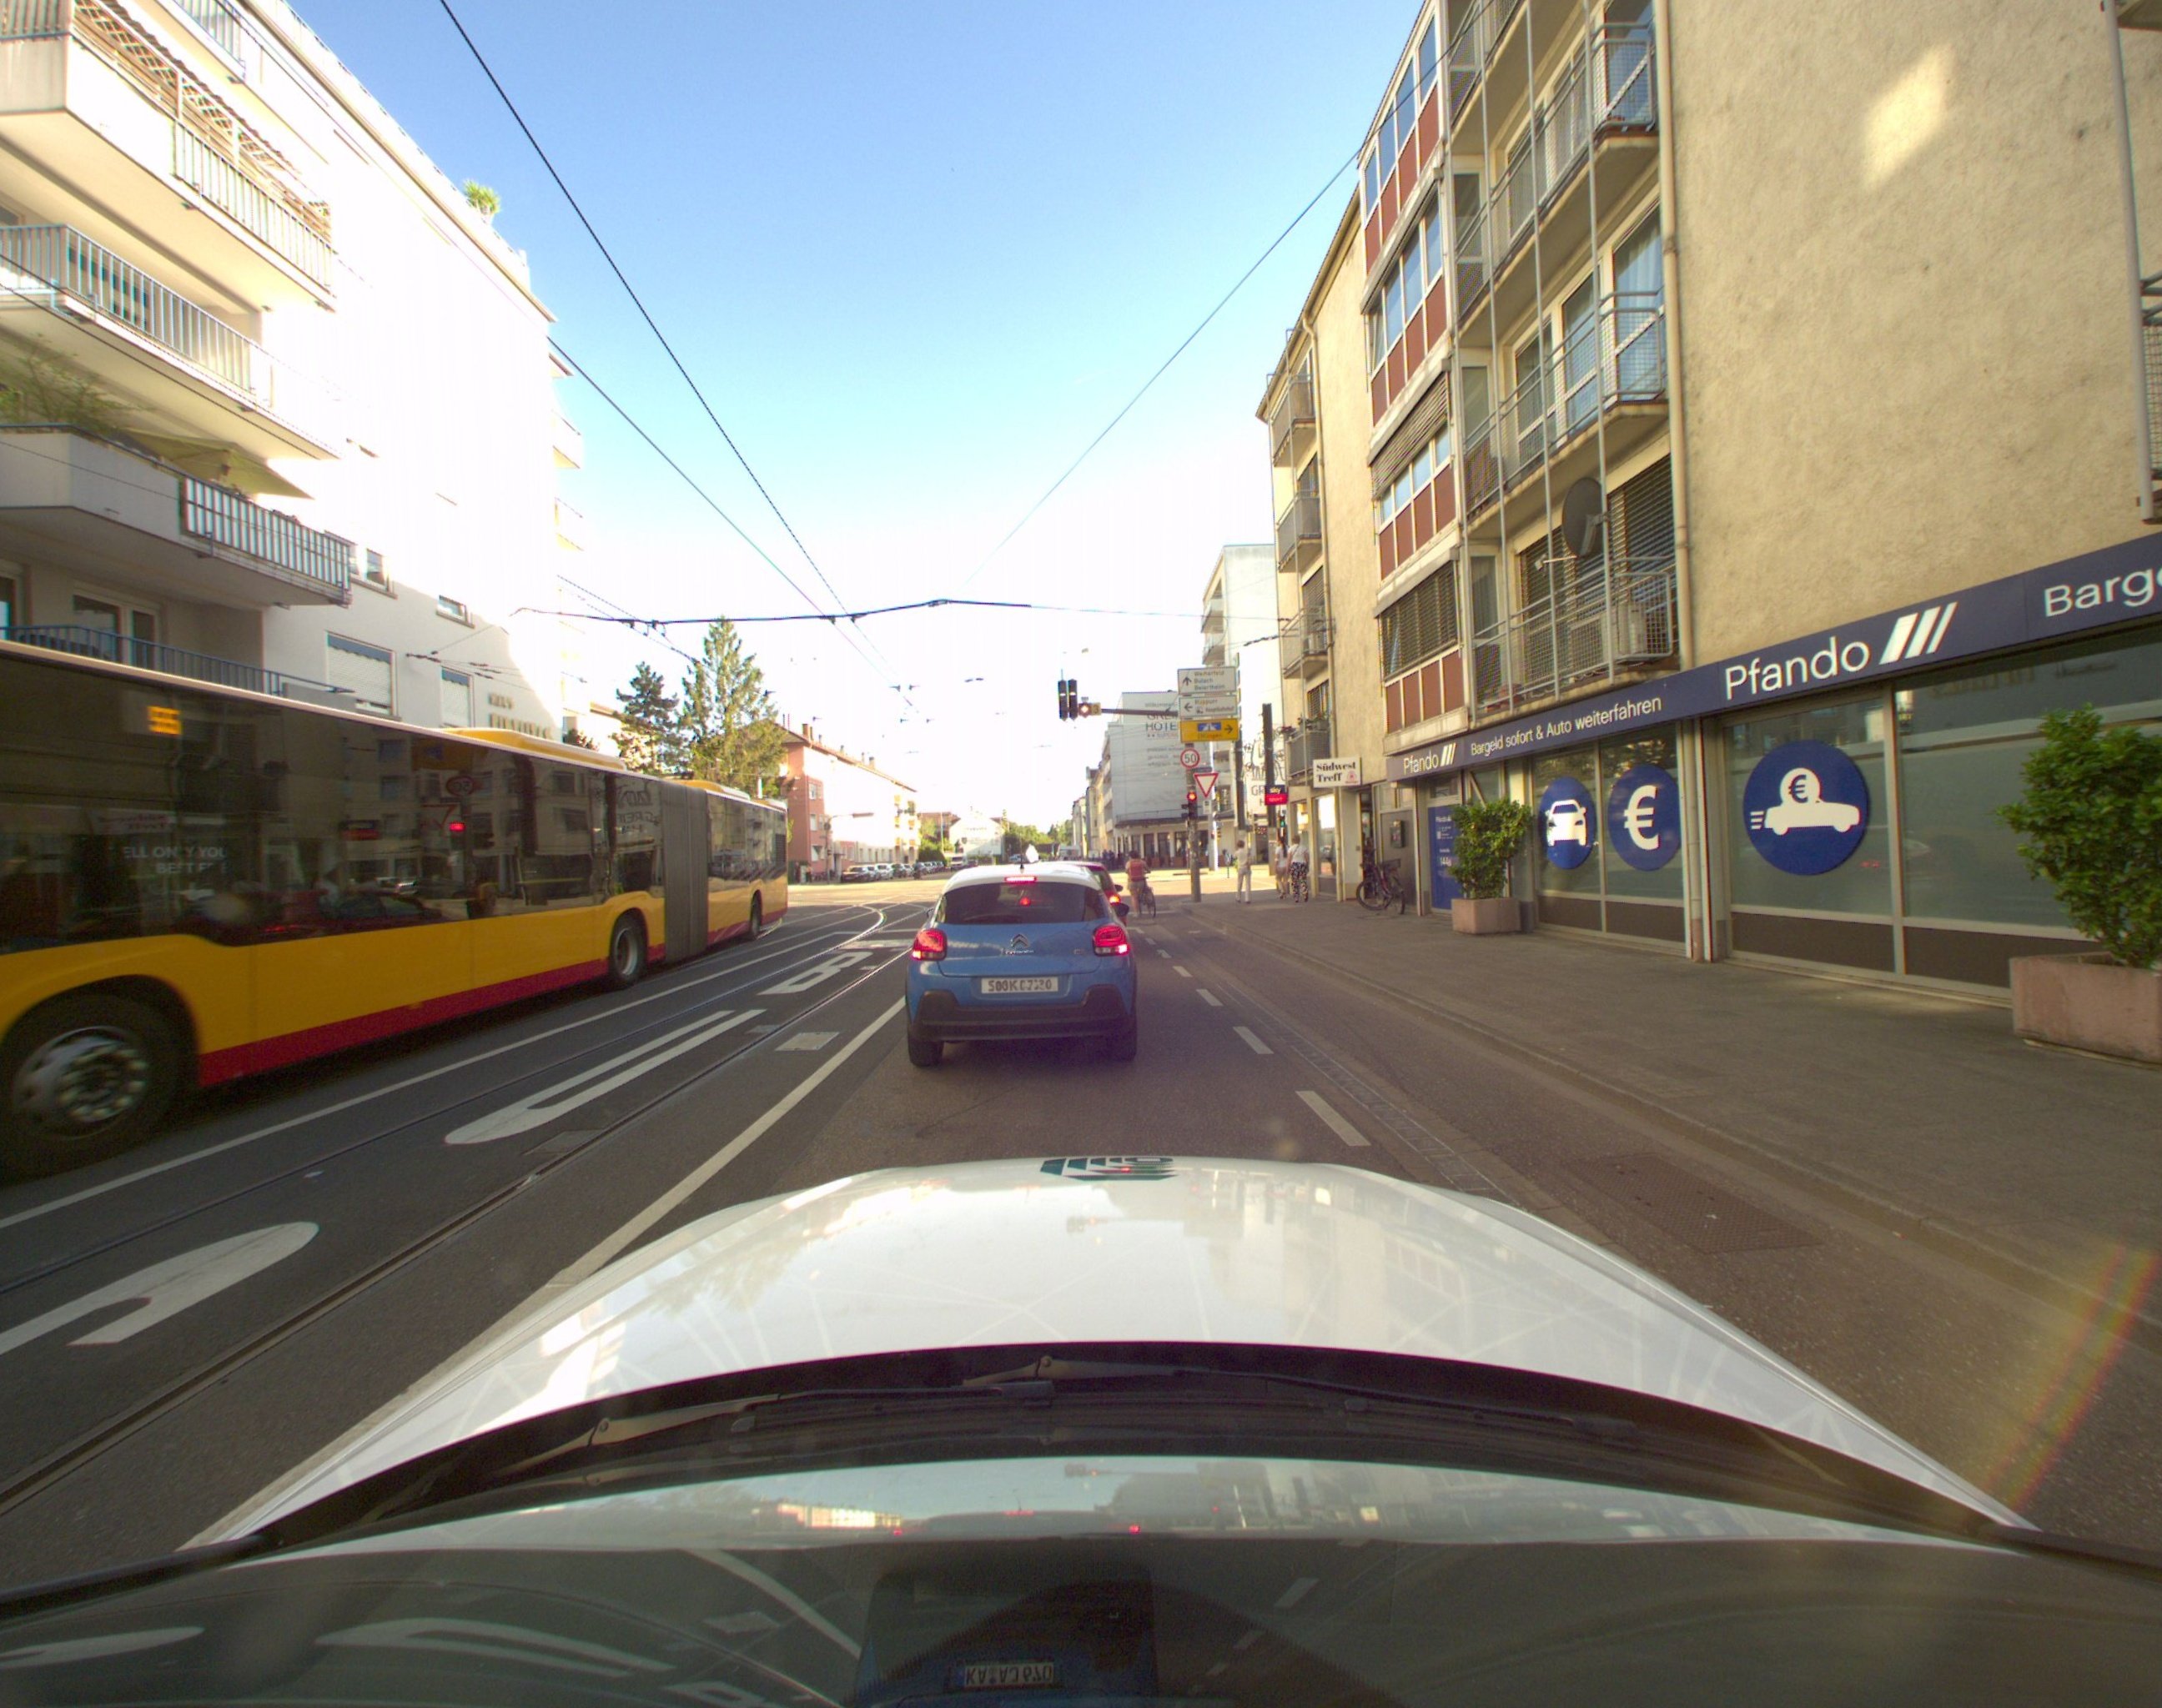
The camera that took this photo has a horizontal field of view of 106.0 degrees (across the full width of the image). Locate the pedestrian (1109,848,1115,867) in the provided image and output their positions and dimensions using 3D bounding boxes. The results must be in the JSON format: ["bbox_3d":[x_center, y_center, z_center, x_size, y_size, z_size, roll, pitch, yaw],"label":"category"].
[{"bbox_3d":[2.655,0.295,70.076,0.490,1.556,0.383,-3,0,-2],"label":"pedestrian"}]

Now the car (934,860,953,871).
[{"bbox_3d":[-20.578,1.710,122.279,2.024,1.619,4.509,-3,0,-1],"label":"car"}]

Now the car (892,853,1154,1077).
[{"bbox_3d":[-0.522,0.741,7.504,1.740,1.462,3.994,-1,0,-4],"label":"car"}]

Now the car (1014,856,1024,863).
[{"bbox_3d":[-14.310,1.253,187.934,2.016,1.525,3.997,-3,0,-2],"label":"car"}]

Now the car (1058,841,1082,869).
[{"bbox_3d":[-1.008,0.084,72.637,1.988,2.325,3.998,-1,0,-1],"label":"car"}]

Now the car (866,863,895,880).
[{"bbox_3d":[-19.590,1.709,79.811,1.906,1.497,3.997,-3,0,-2],"label":"car"}]

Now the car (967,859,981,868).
[{"bbox_3d":[-19.072,1.744,145.290,2.016,1.525,3.997,-2,0,-2],"label":"car"}]

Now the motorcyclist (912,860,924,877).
[{"bbox_3d":[-13.494,1.204,67.606,0.716,1.378,0.912,-2,0,2],"label":"motorcyclist"}]

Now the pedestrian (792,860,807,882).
[{"bbox_3d":[-21.869,1.311,63.282,0.840,1.690,0.738,-2,0,4],"label":"pedestrian"}]

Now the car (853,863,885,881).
[{"bbox_3d":[-19.527,1.659,75.183,1.906,1.497,3.997,-3,0,-2],"label":"car"}]

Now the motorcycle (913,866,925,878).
[{"bbox_3d":[-13.488,1.491,67.760,0.613,0.864,1.671,-3,0,2],"label":"motorcycle"}]

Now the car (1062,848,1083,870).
[{"bbox_3d":[-0.726,0.397,67.710,1.727,1.750,3.212,-1,0,-1],"label":"car"}]

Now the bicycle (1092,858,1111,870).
[{"bbox_3d":[1.660,0.819,66.115,1.497,0.957,0.702,-3,0,3],"label":"bicycle"}]

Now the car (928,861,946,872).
[{"bbox_3d":[-20.622,1.778,116.850,1.865,1.574,3.998,-2,0,-2],"label":"car"}]

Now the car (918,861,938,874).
[{"bbox_3d":[-20.036,1.760,106.738,1.906,1.497,3.997,-3,0,-2],"label":"car"}]

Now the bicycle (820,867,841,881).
[{"bbox_3d":[-22.816,1.811,74.375,0.845,1.225,3.304,-2,0,0],"label":"bicycle"}]

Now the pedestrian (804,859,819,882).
[{"bbox_3d":[-20.991,1.289,63.359,0.840,1.690,0.738,-2,0,4],"label":"pedestrian"}]

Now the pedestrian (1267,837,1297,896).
[{"bbox_3d":[5.316,0.315,21.574,0.539,1.507,0.611,-4,1,0],"label":"pedestrian"}]

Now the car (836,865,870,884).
[{"bbox_3d":[-19.431,1.706,69.450,1.907,1.433,3.995,-3,0,-4],"label":"car"}]

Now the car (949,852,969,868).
[{"bbox_3d":[-17.841,0.839,119.414,2.201,2.251,4.673,-3,0,-2],"label":"car"}]

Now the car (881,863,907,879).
[{"bbox_3d":[-19.816,1.809,86.603,1.906,1.497,3.997,-3,0,-2],"label":"car"}]

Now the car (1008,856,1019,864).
[{"bbox_3d":[-14.077,1.179,169.980,2.016,1.525,3.997,-2,0,-2],"label":"car"}]

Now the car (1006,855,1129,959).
[{"bbox_3d":[-0.138,0.773,13.788,1.732,1.420,4.002,-2,0,2],"label":"car"}]

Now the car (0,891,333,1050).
[{"bbox_3d":[-12.004,1.296,9.995,1.694,1.509,4.310,-1,-1,-1],"label":"car"}]

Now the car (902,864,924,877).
[{"bbox_3d":[-20.221,1.975,98.331,1.906,1.497,3.997,-3,0,-2],"label":"car"}]

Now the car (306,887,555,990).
[{"bbox_3d":[-12.280,1.505,15.765,1.741,1.509,3.995,-1,0,-4],"label":"car"}]

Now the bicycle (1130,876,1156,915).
[{"bbox_3d":[1.570,1.040,20.800,0.497,0.864,1.748,-2,0,0],"label":"bicycle"}]

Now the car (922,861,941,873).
[{"bbox_3d":[-20.538,1.801,111.752,1.906,1.497,3.997,-3,0,-2],"label":"car"}]

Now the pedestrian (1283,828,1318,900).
[{"bbox_3d":[5.325,0.240,19.774,0.539,1.672,0.650,-4,0,0],"label":"pedestrian"}]

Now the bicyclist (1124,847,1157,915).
[{"bbox_3d":[1.478,0.655,20.382,0.723,1.646,0.790,-2,0,1],"label":"bicyclist"}]

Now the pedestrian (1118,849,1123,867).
[{"bbox_3d":[3.411,0.377,70.236,0.284,1.556,0.304,-2,0,-7],"label":"pedestrian"}]

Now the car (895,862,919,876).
[{"bbox_3d":[-19.816,1.670,92.746,1.906,1.497,3.997,-3,0,-2],"label":"car"}]

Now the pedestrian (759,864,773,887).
[{"bbox_3d":[-23.002,1.571,59.435,0.854,1.625,0.510,-2,0,-33],"label":"pedestrian"}]

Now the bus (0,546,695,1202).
[{"bbox_3d":[-6.780,0.137,6.911,2.717,3.158,10.179,-2,0,-4],"label":"bus"}]

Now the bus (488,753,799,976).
[{"bbox_3d":[-7.705,0.144,15.747,2.736,3.161,7.556,-2,0,-8],"label":"bus"}]

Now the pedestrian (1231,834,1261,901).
[{"bbox_3d":[4.233,0.330,20.895,0.539,1.672,0.624,-4,1,0],"label":"pedestrian"}]

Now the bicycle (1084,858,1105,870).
[{"bbox_3d":[1.125,0.848,68.548,1.713,0.957,0.702,-3,0,3],"label":"bicycle"}]

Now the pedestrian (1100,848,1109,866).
[{"bbox_3d":[2.120,0.240,72.704,0.648,1.556,0.490,-2,0,-20],"label":"pedestrian"}]

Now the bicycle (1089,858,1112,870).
[{"bbox_3d":[1.603,0.825,67.177,1.866,0.957,0.702,-3,0,3],"label":"bicycle"}]

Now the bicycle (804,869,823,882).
[{"bbox_3d":[-22.469,1.804,68.443,0.730,0.952,2.597,-2,0,0],"label":"bicycle"}]

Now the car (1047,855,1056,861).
[{"bbox_3d":[-6.641,0.969,183.516,1.752,1.259,3.825,-2,0,-5],"label":"car"}]

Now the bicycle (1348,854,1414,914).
[{"bbox_3d":[5.756,0.549,15.706,0.528,1.072,1.810,-2,0,-1],"label":"bicycle"}]
